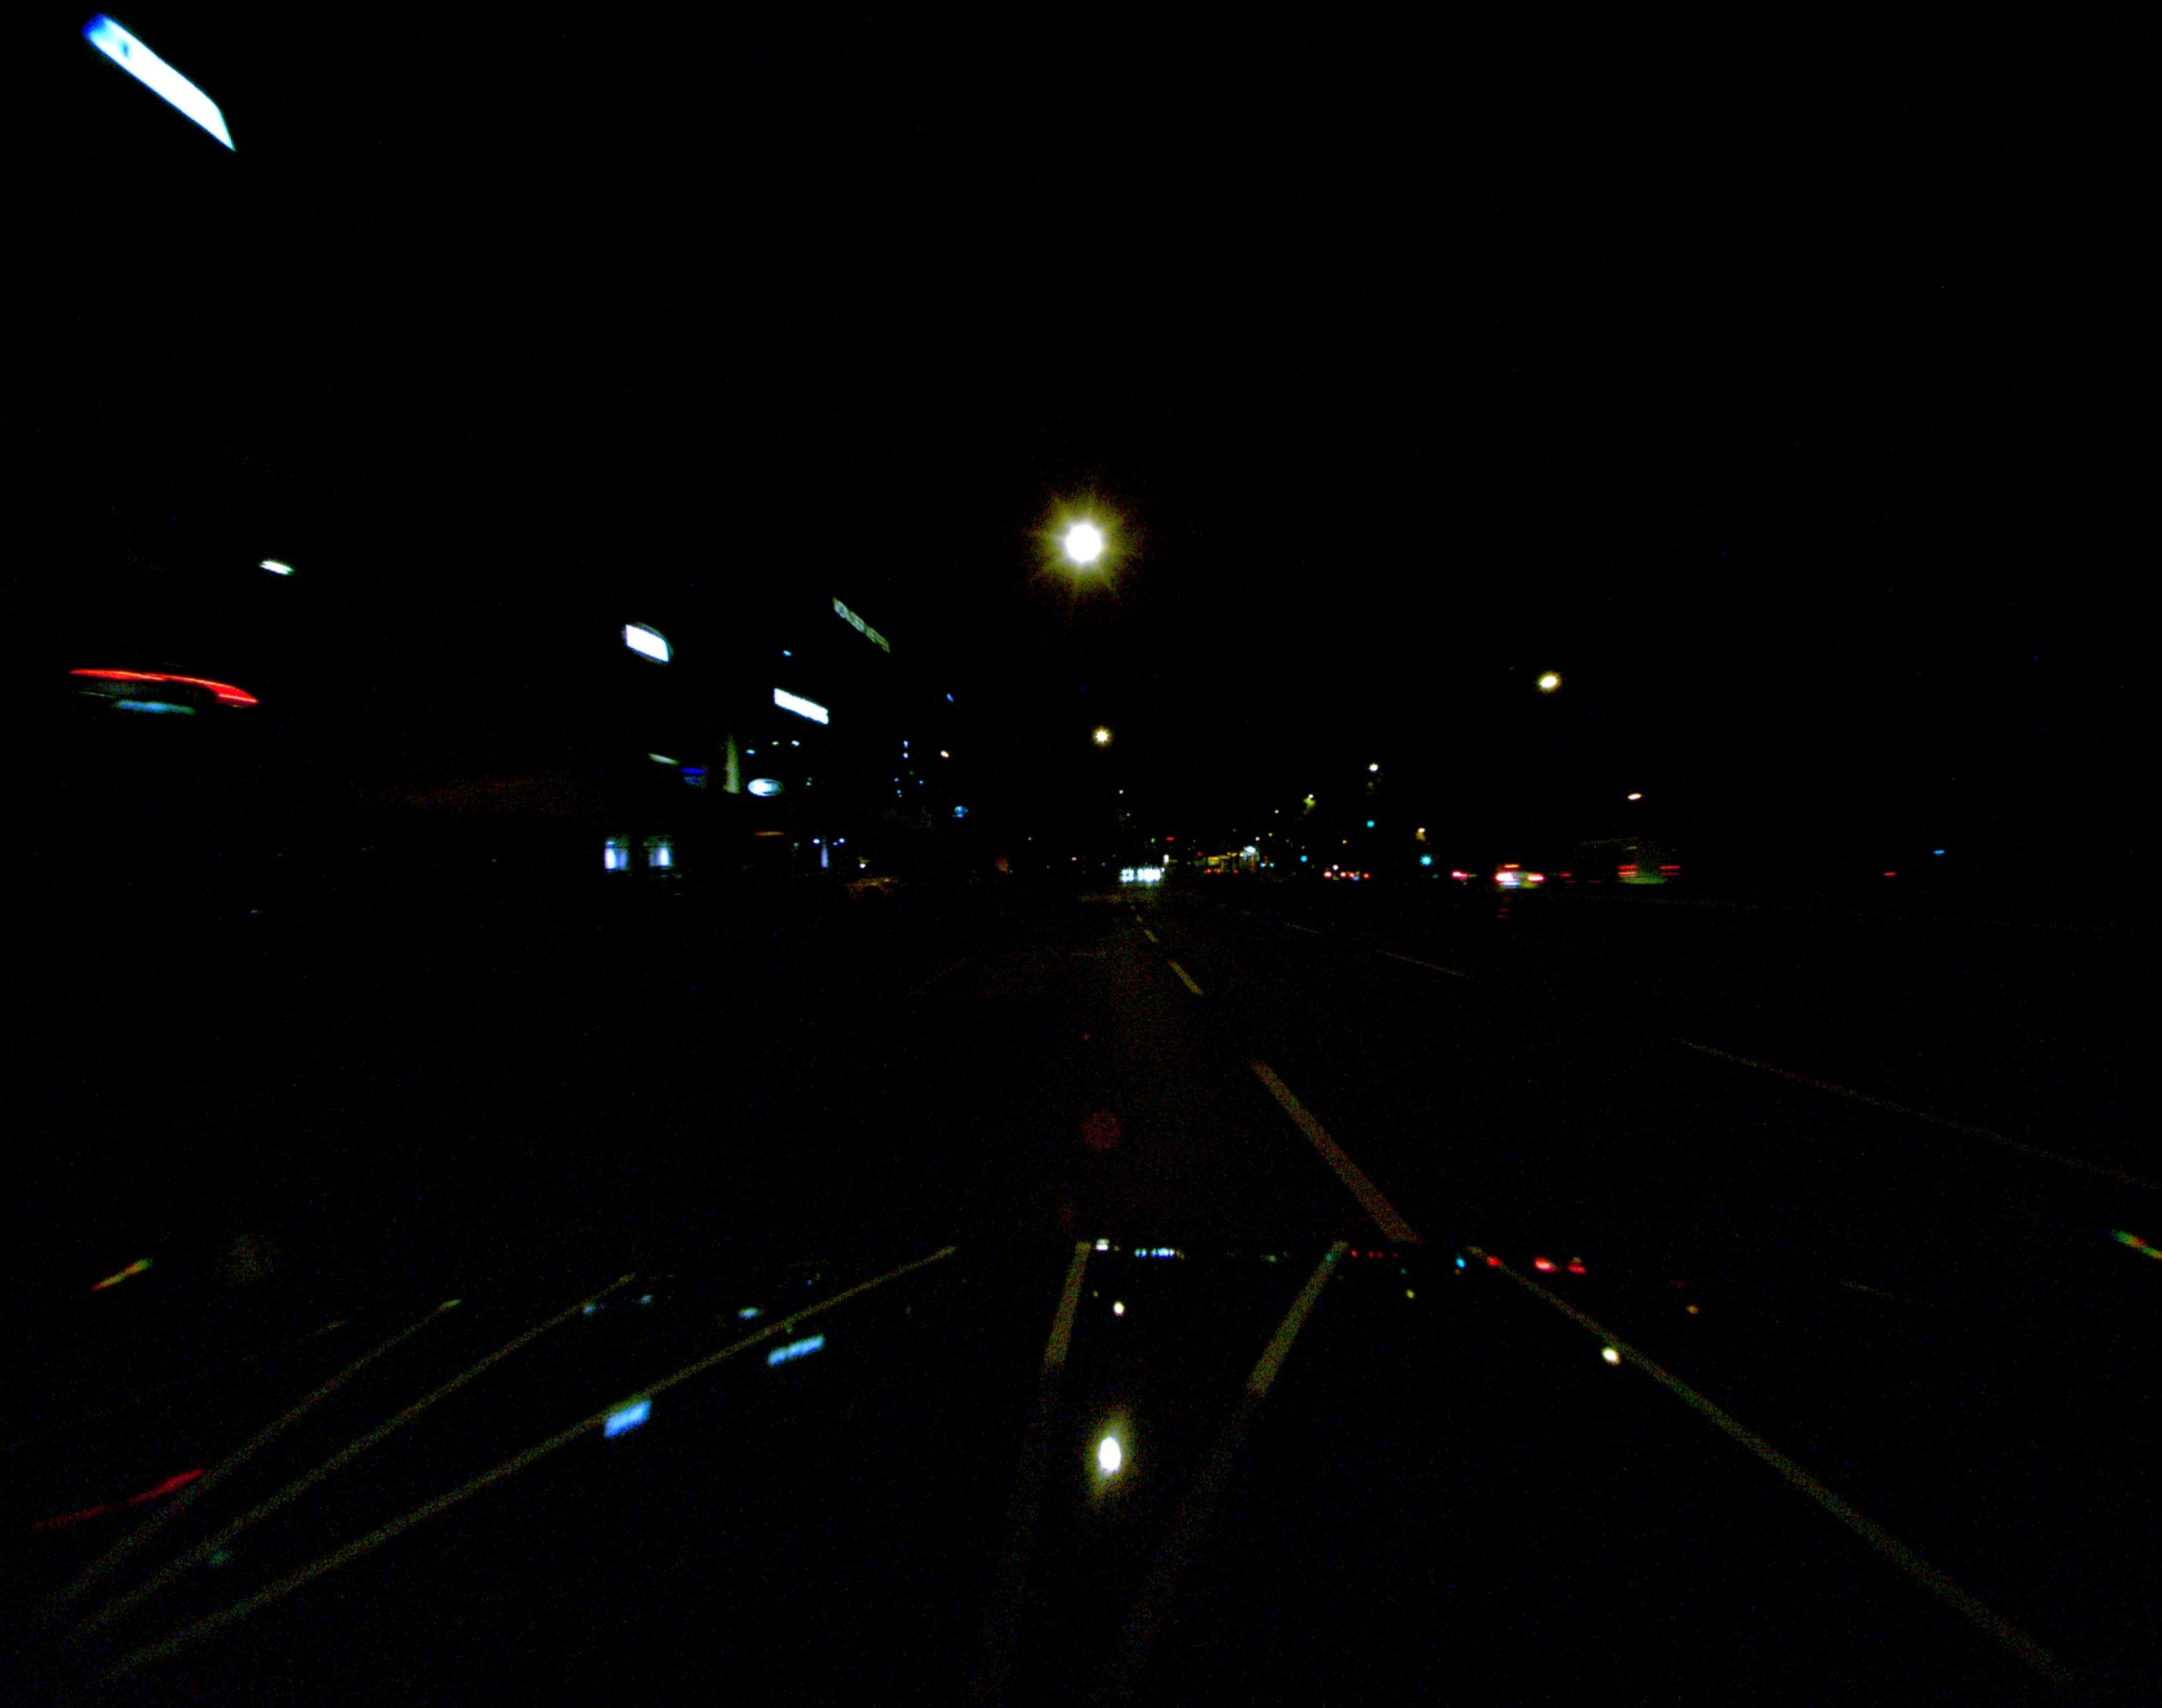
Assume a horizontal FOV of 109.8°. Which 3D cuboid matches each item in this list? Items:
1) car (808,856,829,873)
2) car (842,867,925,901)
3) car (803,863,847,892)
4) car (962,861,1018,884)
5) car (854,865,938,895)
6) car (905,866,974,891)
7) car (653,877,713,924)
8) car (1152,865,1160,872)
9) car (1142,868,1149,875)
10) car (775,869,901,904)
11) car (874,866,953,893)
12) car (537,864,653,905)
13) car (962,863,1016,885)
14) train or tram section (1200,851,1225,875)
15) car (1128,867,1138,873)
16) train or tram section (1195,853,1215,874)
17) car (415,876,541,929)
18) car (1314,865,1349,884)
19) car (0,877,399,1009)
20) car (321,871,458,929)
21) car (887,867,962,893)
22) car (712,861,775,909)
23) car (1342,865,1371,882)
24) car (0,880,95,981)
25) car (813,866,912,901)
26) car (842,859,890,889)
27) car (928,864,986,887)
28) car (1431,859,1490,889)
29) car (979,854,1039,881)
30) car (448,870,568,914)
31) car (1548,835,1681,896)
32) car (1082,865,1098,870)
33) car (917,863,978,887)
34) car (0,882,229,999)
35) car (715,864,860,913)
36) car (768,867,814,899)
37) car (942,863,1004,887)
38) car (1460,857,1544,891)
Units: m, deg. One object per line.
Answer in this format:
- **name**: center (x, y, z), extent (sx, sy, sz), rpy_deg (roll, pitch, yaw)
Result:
- **car**: center (-27.422, 1.111, 79.511), extent (2.001, 1.652, 4.661), rpy_deg (-1, 0, -18)
- **car**: center (-9.304, 1.369, 35.819), extent (3.616, 1.425, 1.677), rpy_deg (-1, 0, -19)
- **car**: center (-14.090, 1.279, 41.702), extent (1.628, 1.455, 3.786), rpy_deg (0, -1, -29)
- **car**: center (-7.555, 1.530, 63.398), extent (4.474, 1.677, 1.999), rpy_deg (3, -1, -7)
- **car**: center (-9.372, 1.317, 38.441), extent (4.003, 1.461, 1.831), rpy_deg (1, -1, -15)
- **car**: center (-8.671, 1.491, 46.641), extent (4.037, 1.365, 1.824), rpy_deg (3, -1, -12)
- **car**: center (-14.760, 1.643, 28.076), extent (1.781, 1.401, 4.328), rpy_deg (-1, 1, -30)
- **car**: center (18.577, 3.615, 187.698), extent (1.907, 1.608, 3.720), rpy_deg (-2, 0, 6)
- **car**: center (16.717, 4.474, 197.137), extent (1.711, 1.562, 4.000), rpy_deg (-2, 0, 1)
- **car**: center (-9.701, 1.270, 30.381), extent (4.649, 1.256, 1.944), rpy_deg (-1, -2, -21)
- **car**: center (-9.073, 1.401, 41.188), extent (4.003, 1.383, 1.824), rpy_deg (1, -2, -18)
- **car**: center (-22.002, 1.359, 34.551), extent (4.328, 1.644, 1.653), rpy_deg (-1, 0, -33)
- **car**: center (-7.321, 1.588, 60.451), extent (4.093, 1.559, 1.854), rpy_deg (3, -1, -7)
- **train or tram section**: center (22.631, 1.570, 131.674), extent (2.764, 3.804, 18.680), rpy_deg (-2, -1, 5)
- **car**: center (12.855, 3.900, 186.618), extent (1.946, 1.299, 3.909), rpy_deg (0, -1, 11)
- **train or tram section**: center (24.443, 1.821, 150.580), extent (2.744, 3.823, 19.374), rpy_deg (-2, -1, 6)
- **car**: center (-20.586, 1.619, 26.126), extent (1.637, 1.505, 3.414), rpy_deg (0, 2, -2)
- **car**: center (22.420, 1.806, 68.049), extent (1.789, 1.488, 4.174), rpy_deg (-2, 0, 1)
- **car**: center (-17.292, 1.565, 15.371), extent (1.999, 2.002, 5.627), rpy_deg (-2, 0, -2)
- **car**: center (-23.016, 1.490, 25.467), extent (1.637, 1.632, 3.299), rpy_deg (1, 1, -2)
- **car**: center (-8.967, 1.475, 43.817), extent (3.999, 1.372, 1.808), rpy_deg (2, -1, -7)
- **car**: center (-14.374, 1.248, 32.273), extent (1.591, 1.786, 3.859), rpy_deg (-2, 2, -36)
- **car**: center (26.431, 1.871, 72.924), extent (1.663, 1.507, 3.912), rpy_deg (-2, 0, 6)
- **car**: center (-22.616, 1.564, 14.470), extent (1.957, 1.982, 4.408), rpy_deg (-2, 0, -3)
- **car**: center (-9.442, 1.274, 33.092), extent (4.002, 1.415, 1.907), rpy_deg (-1, -1, -14)
- **car**: center (-14.712, 1.338, 51.801), extent (1.838, 1.906, 4.816), rpy_deg (-2, 0, -33)
- **car**: center (-8.427, 1.437, 51.796), extent (3.815, 1.444, 1.716), rpy_deg (2, -1, -10)
- **car**: center (23.394, 1.197, 47.021), extent (1.783, 1.703, 4.228), rpy_deg (-2, 0, 4)
- **car**: center (-7.689, 1.450, 81.132), extent (6.039, 2.514, 2.281), rpy_deg (4, -1, -12)
- **car**: center (-22.507, 1.470, 29.921), extent (3.486, 1.576, 1.749), rpy_deg (0, 2, 5)
- **car**: center (25.801, 0.535, 37.182), extent (2.149, 2.655, 6.966), rpy_deg (1, 0, 6)
- **car**: center (2.253, 3.456, 194.227), extent (4.008, 1.027, 1.480), rpy_deg (1, -2, -36)
- **car**: center (-8.644, 1.365, 49.296), extent (3.780, 1.370, 1.715), rpy_deg (3, -1, -9)
- **car**: center (-20.195, 1.622, 15.021), extent (1.816, 1.982, 4.408), rpy_deg (-2, 0, -3)
- **car**: center (-9.600, 1.105, 25.171), extent (4.135, 1.412, 1.875), rpy_deg (-2, 0, -10)
- **car**: center (-14.336, 1.401, 37.480), extent (1.324, 1.477, 3.065), rpy_deg (-1, -1, -37)
- **car**: center (-8.078, 1.553, 57.216), extent (4.474, 1.538, 1.769), rpy_deg (3, 0, -5)
- **car**: center (19.044, 0.853, 34.602), extent (1.624, 1.431, 4.339), rpy_deg (0, 0, 3)
